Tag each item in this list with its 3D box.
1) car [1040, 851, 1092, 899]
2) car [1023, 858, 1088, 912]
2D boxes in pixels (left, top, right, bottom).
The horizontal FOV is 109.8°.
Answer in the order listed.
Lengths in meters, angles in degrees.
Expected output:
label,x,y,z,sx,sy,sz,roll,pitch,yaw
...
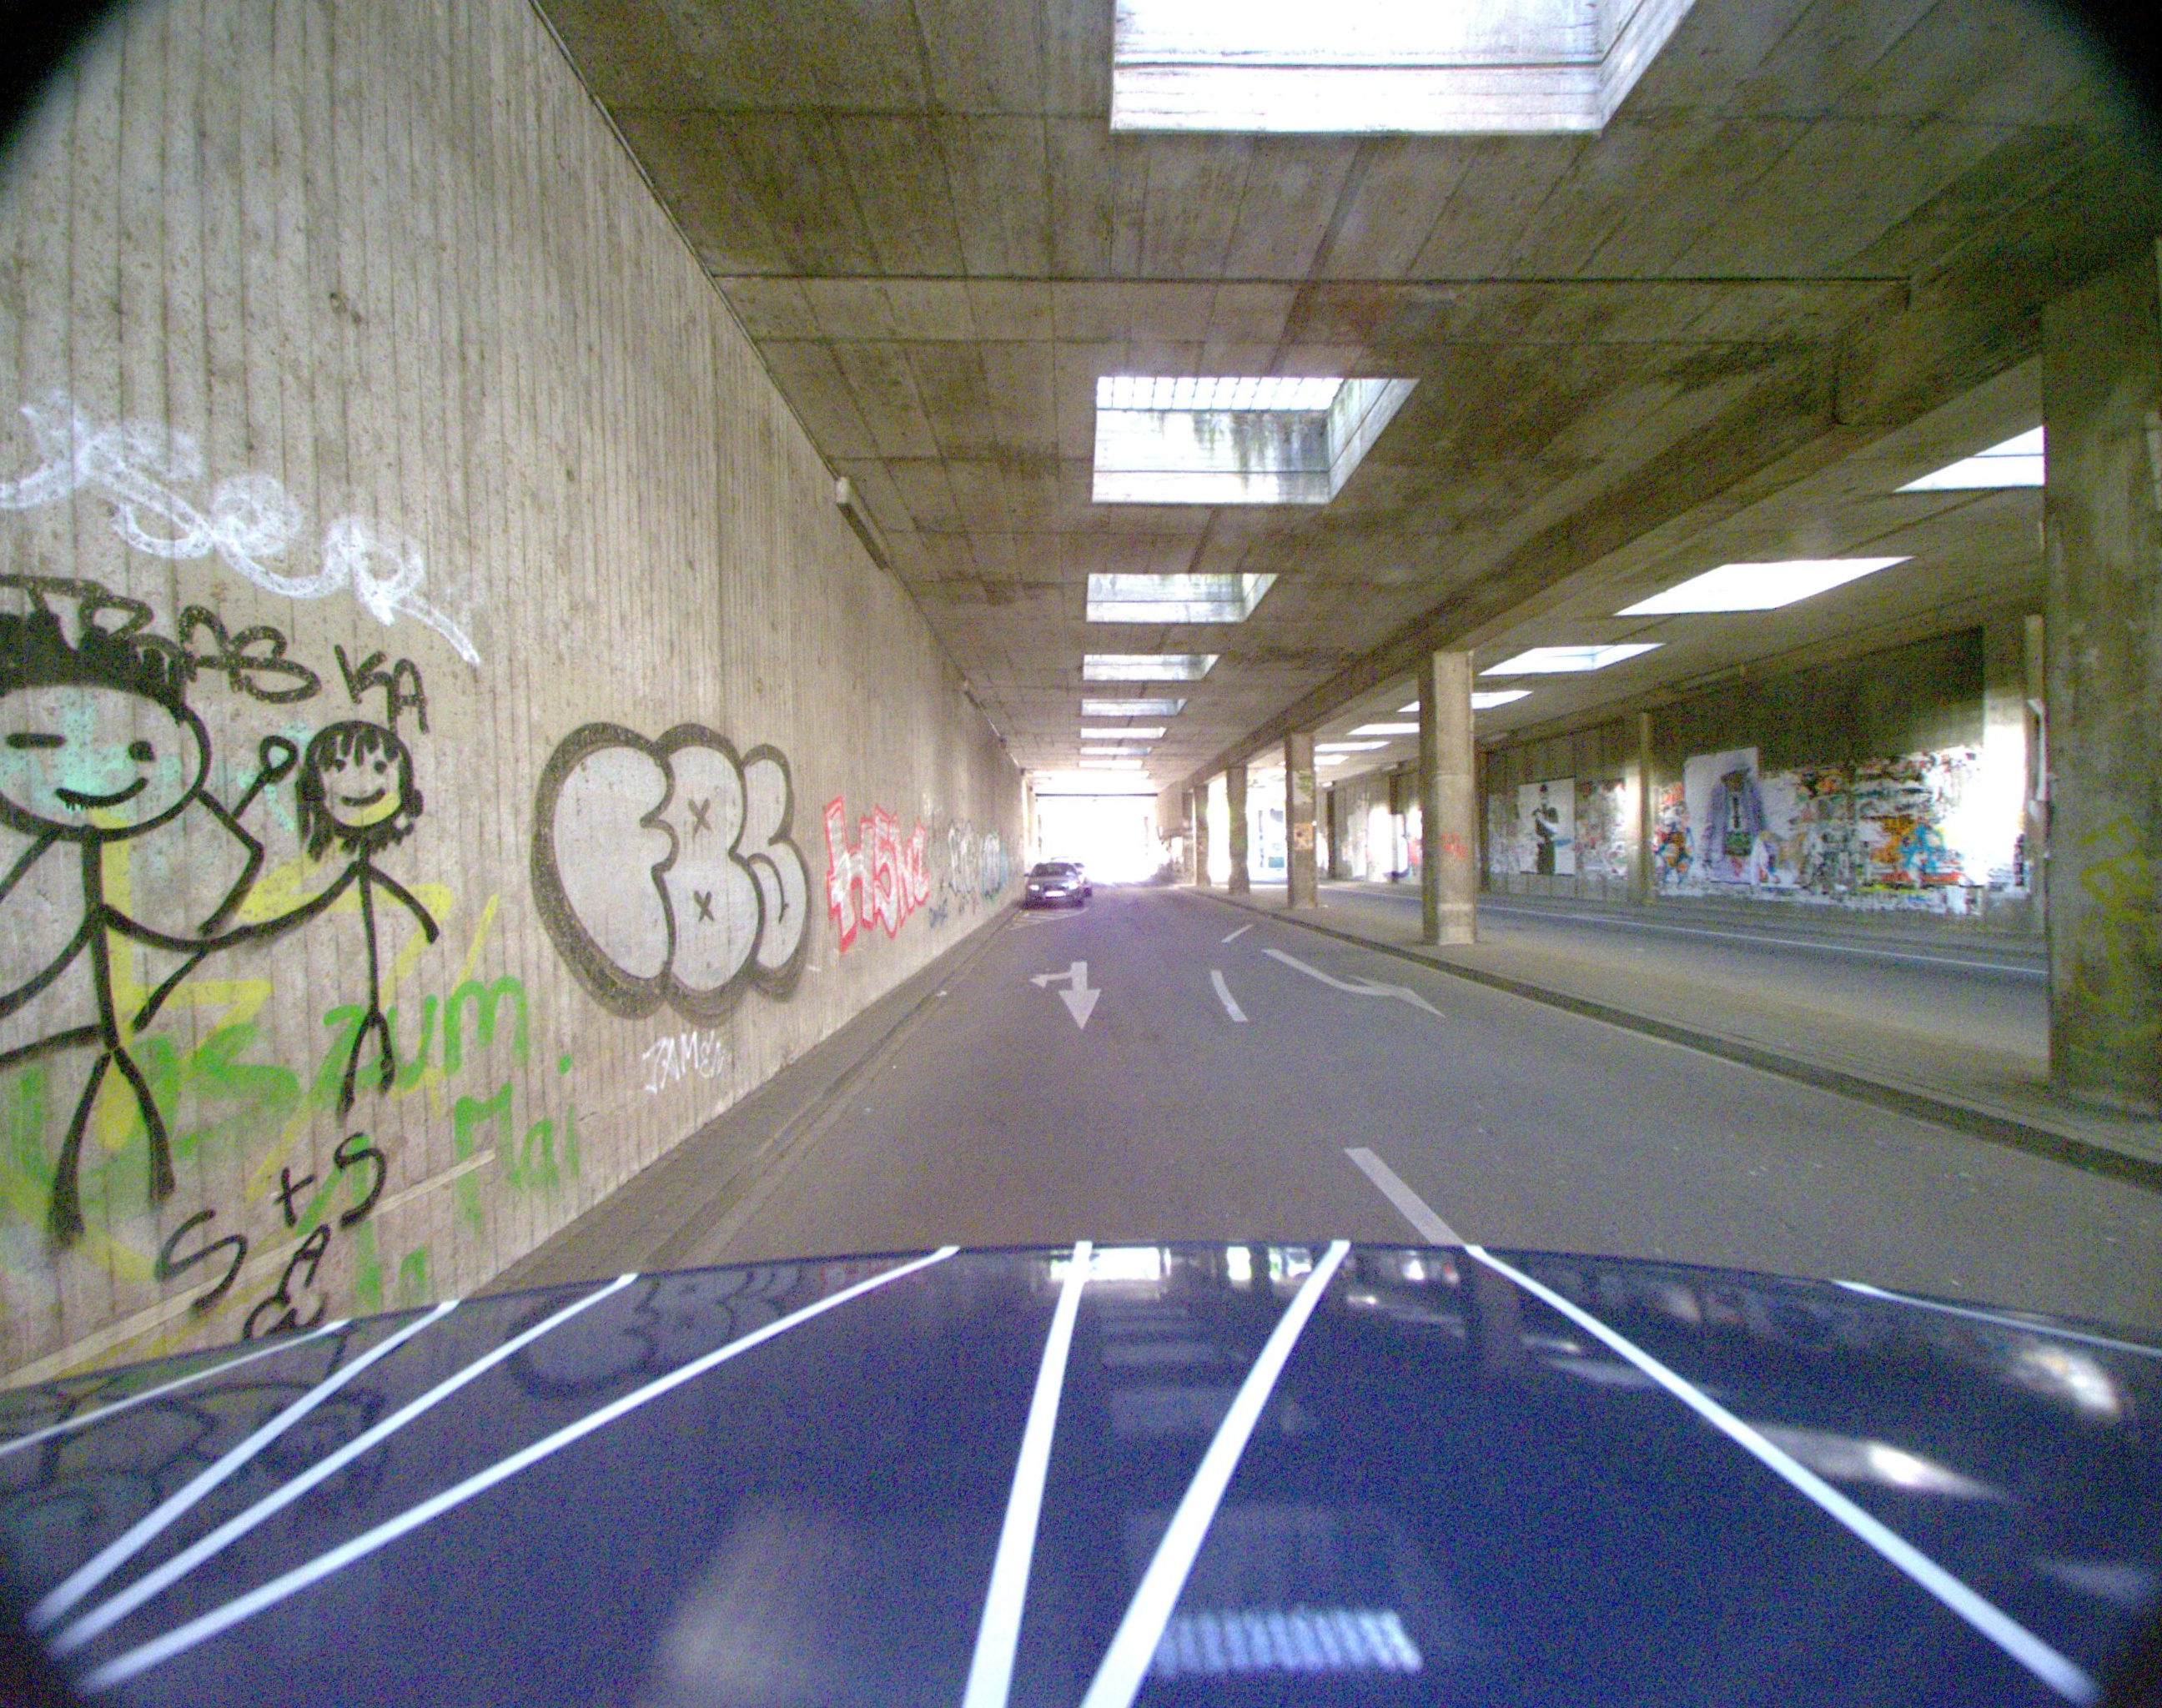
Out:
label,x,y,z,sx,sy,sz,roll,pitch,yaw
car,-0.524,0.764,29.706,1.861,1.709,4.000,-2,0,1
car,-0.727,0.907,24.043,1.808,1.460,4.000,-2,0,1
